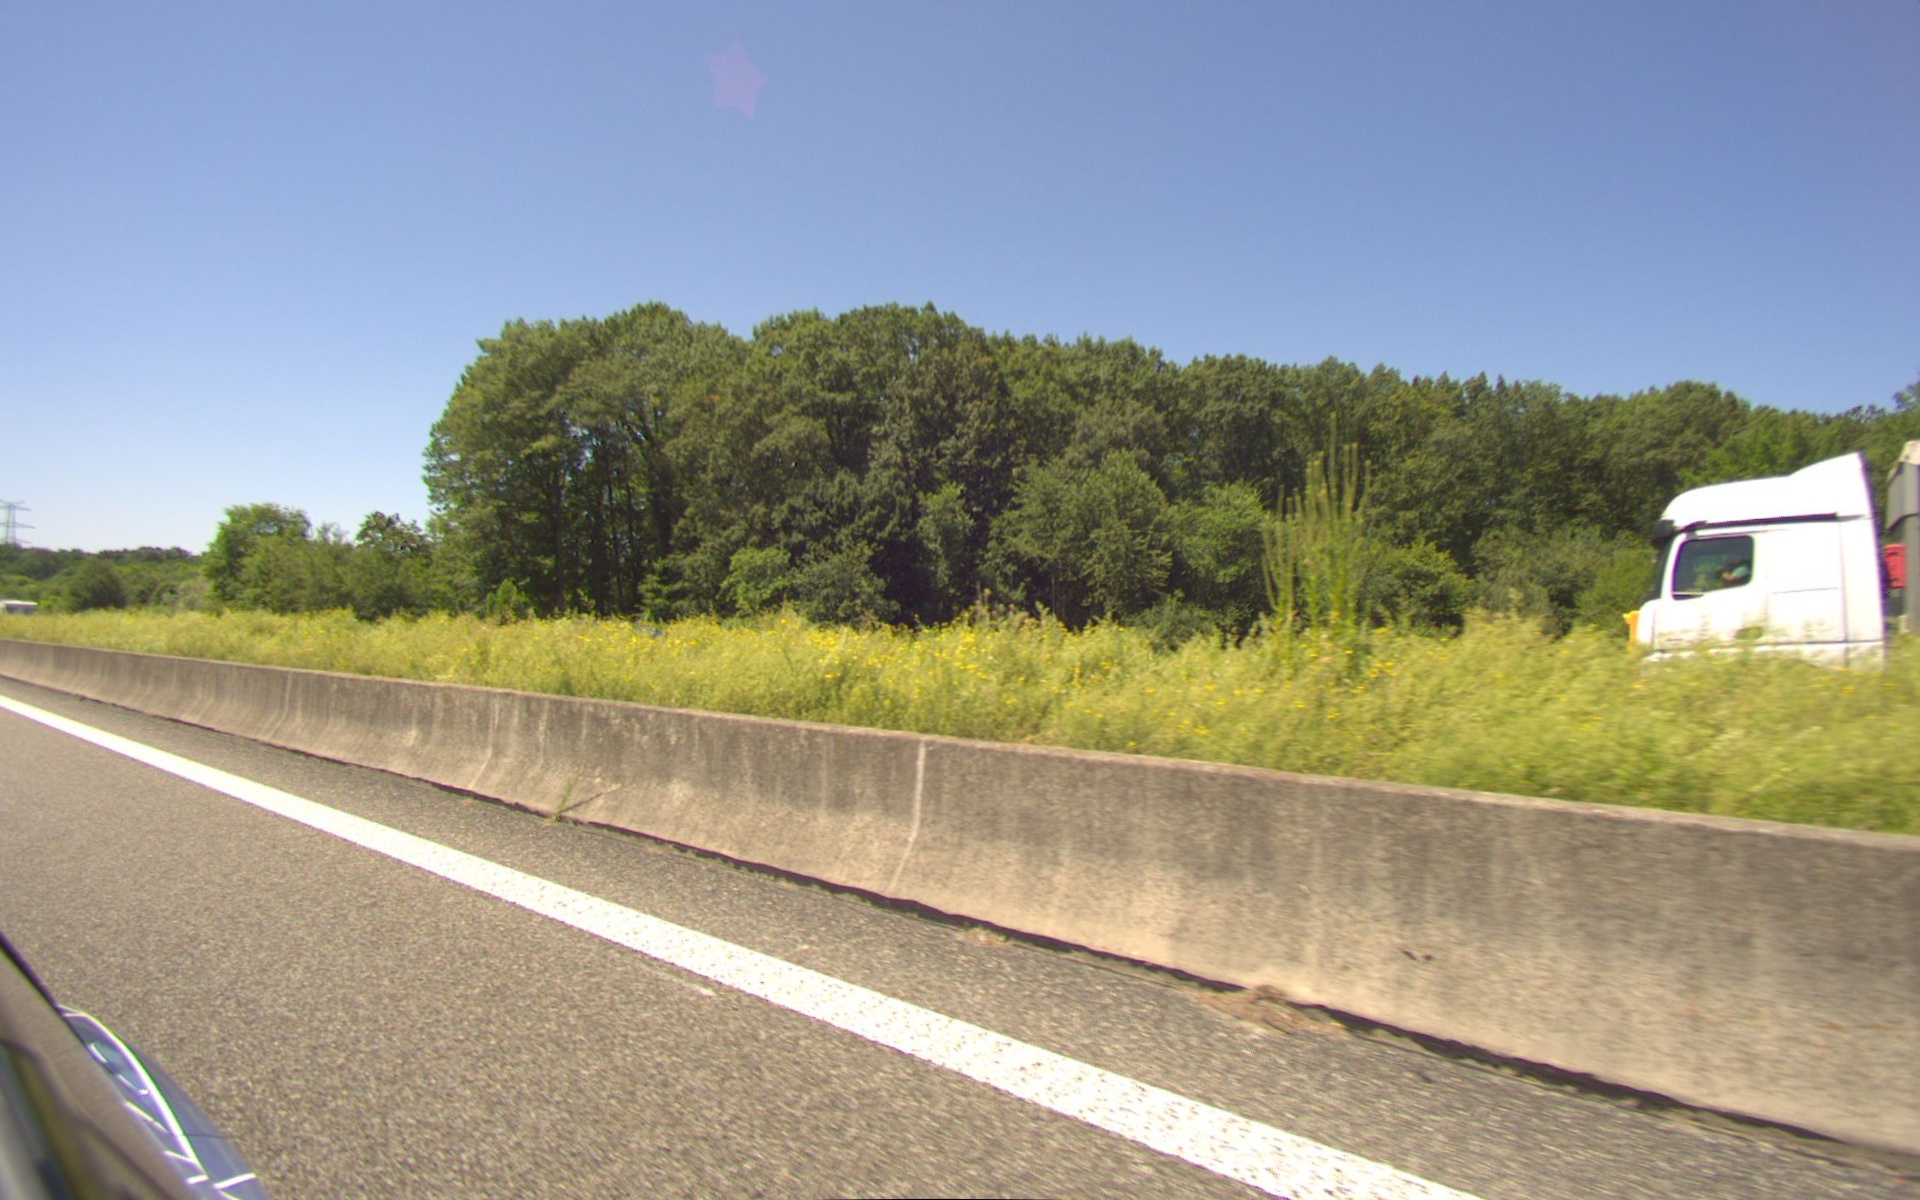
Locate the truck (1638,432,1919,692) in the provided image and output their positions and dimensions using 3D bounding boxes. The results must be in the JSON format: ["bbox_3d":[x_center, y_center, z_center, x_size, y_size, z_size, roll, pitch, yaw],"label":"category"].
[{"bbox_3d":[12.396,-0.460,13.033,5.843,3.107,2.616,-1,-1,40],"label":"truck"}]

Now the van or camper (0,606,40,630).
[{"bbox_3d":[-82.981,1.589,88.935,5.880,2.029,2.200,0,0,39],"label":"van or camper"}]

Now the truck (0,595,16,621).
[{"bbox_3d":[-114.300,1.006,119.528,10.476,2.964,2.660,-1,-2,40],"label":"truck"}]
